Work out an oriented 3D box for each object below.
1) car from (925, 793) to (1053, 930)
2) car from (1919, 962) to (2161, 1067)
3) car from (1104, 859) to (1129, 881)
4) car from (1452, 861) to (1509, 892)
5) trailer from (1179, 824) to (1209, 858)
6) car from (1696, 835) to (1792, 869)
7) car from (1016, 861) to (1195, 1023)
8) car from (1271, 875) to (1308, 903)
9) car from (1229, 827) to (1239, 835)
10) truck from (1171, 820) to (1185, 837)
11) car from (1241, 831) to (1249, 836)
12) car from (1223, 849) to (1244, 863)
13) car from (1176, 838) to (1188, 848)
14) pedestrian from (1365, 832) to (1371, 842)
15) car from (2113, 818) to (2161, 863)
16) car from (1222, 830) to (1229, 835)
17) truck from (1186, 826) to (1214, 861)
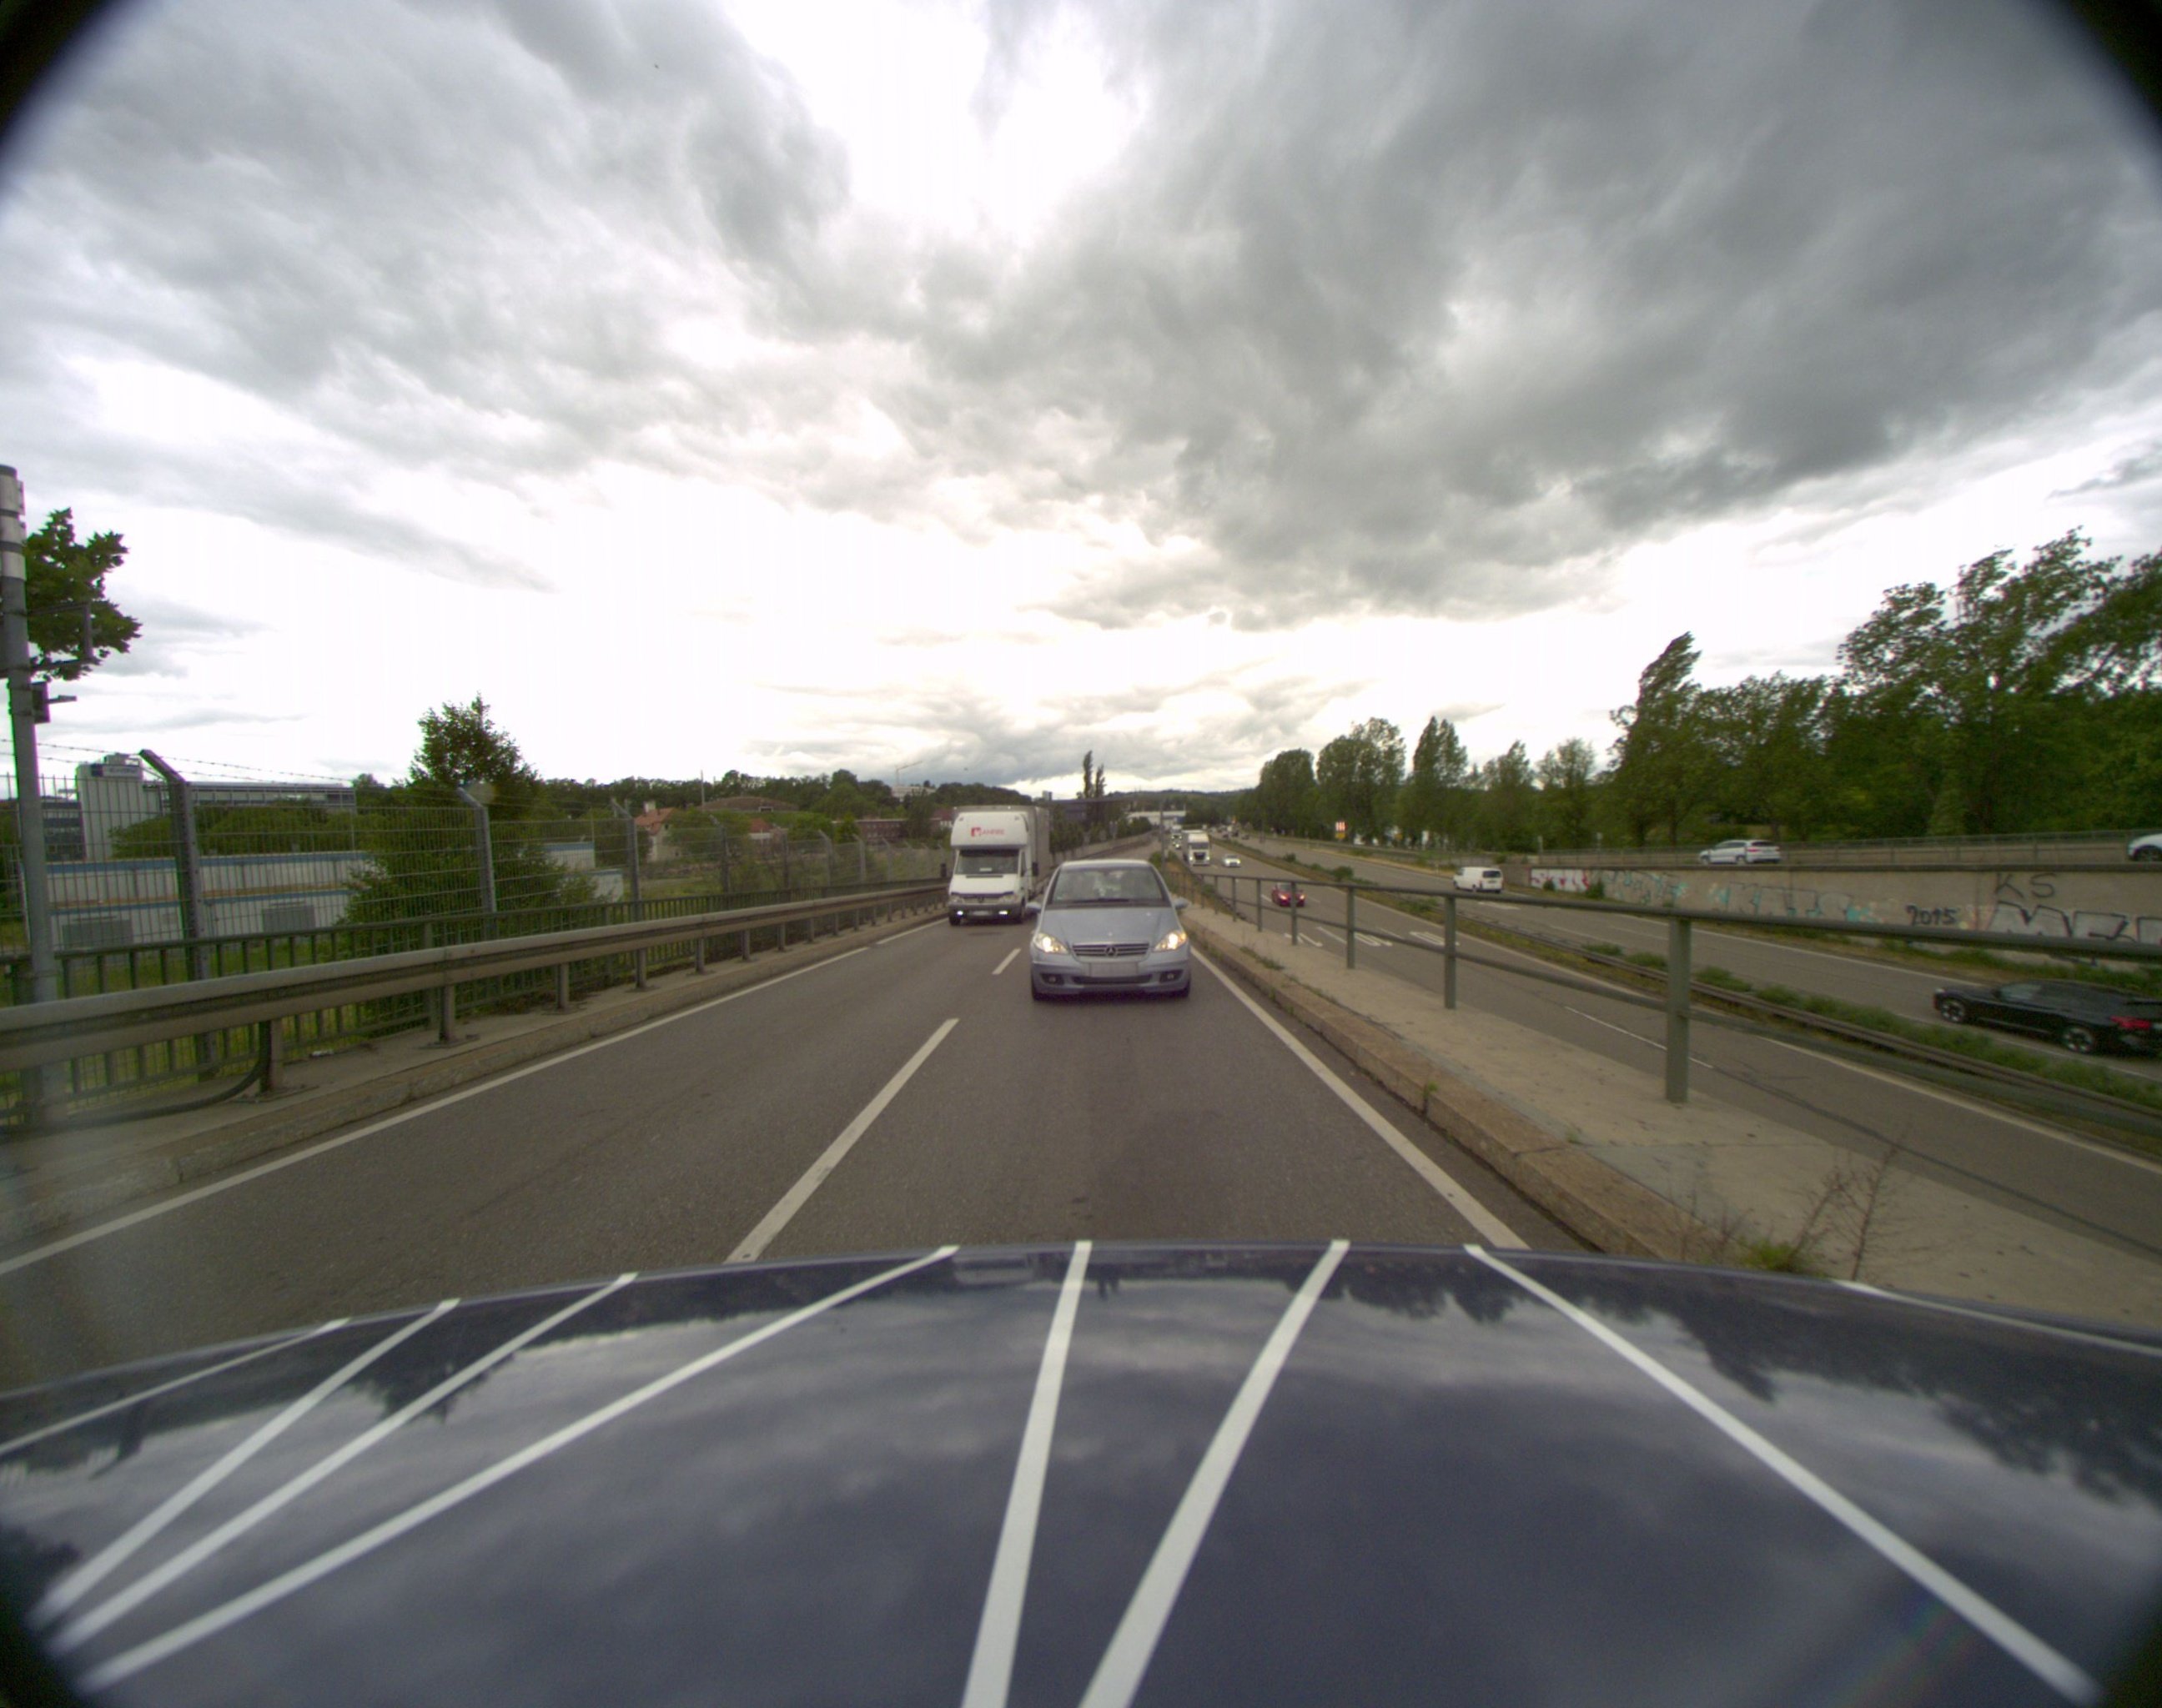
[{"bbox_3d":[-2.401,0.151,22.364,2.665,3.310,7.090,-2,1,1],"label":"car"},{"bbox_3d":[26.524,4.245,20.866,1.920,1.729,4.550,-1,3,0],"label":"car"},{"bbox_3d":[2.828,1.245,59.075,1.780,1.578,4.001,-1,0,4],"label":"car"},{"bbox_3d":[31.647,1.755,60.370,1.998,2.056,5.175,-2,3,2],"label":"car"},{"bbox_3d":[15.462,-1.902,105.152,2.758,4.228,13.146,0,3,2],"label":"trailer"},{"bbox_3d":[39.054,-0.095,44.916,1.998,1.859,4.213,-1,0,1],"label":"car"},{"bbox_3d":[0.337,0.916,9.723,1.780,1.578,4.001,-1,0,3],"label":"car"},{"bbox_3d":[14.634,2.435,53.566,1.756,1.433,4.163,-1,4,4],"label":"car"},{"bbox_3d":[49.371,-7.527,245.363,2.249,2.533,6.112,-1,3,2],"label":"car"},{"bbox_3d":[26.417,-6.982,206.855,3.179,4.501,11.121,-1,3,4],"label":"truck"},{"bbox_3d":[45.312,-5.642,209.995,1.715,1.368,4.109,0,3,2],"label":"car"},{"bbox_3d":[18.596,0.176,92.745,1.919,1.411,4.275,-1,4,4],"label":"car"},{"bbox_3d":[18.690,-2.025,141.033,1.858,1.598,4.164,-1,3,2],"label":"car"},{"bbox_3d":[52.143,-3.094,138.071,0.831,1.696,1.077,-2,4,3],"label":"pedestrian"},{"bbox_3d":[38.502,-0.498,25.527,1.837,1.567,4.347,-1,0,3],"label":"car"},{"bbox_3d":[44.203,-6.543,232.293,1.668,1.493,3.857,0,3,3],"label":"car"},{"bbox_3d":[15.145,-1.475,97.351,2.758,4.228,6.695,0,3,2],"label":"truck"}]
